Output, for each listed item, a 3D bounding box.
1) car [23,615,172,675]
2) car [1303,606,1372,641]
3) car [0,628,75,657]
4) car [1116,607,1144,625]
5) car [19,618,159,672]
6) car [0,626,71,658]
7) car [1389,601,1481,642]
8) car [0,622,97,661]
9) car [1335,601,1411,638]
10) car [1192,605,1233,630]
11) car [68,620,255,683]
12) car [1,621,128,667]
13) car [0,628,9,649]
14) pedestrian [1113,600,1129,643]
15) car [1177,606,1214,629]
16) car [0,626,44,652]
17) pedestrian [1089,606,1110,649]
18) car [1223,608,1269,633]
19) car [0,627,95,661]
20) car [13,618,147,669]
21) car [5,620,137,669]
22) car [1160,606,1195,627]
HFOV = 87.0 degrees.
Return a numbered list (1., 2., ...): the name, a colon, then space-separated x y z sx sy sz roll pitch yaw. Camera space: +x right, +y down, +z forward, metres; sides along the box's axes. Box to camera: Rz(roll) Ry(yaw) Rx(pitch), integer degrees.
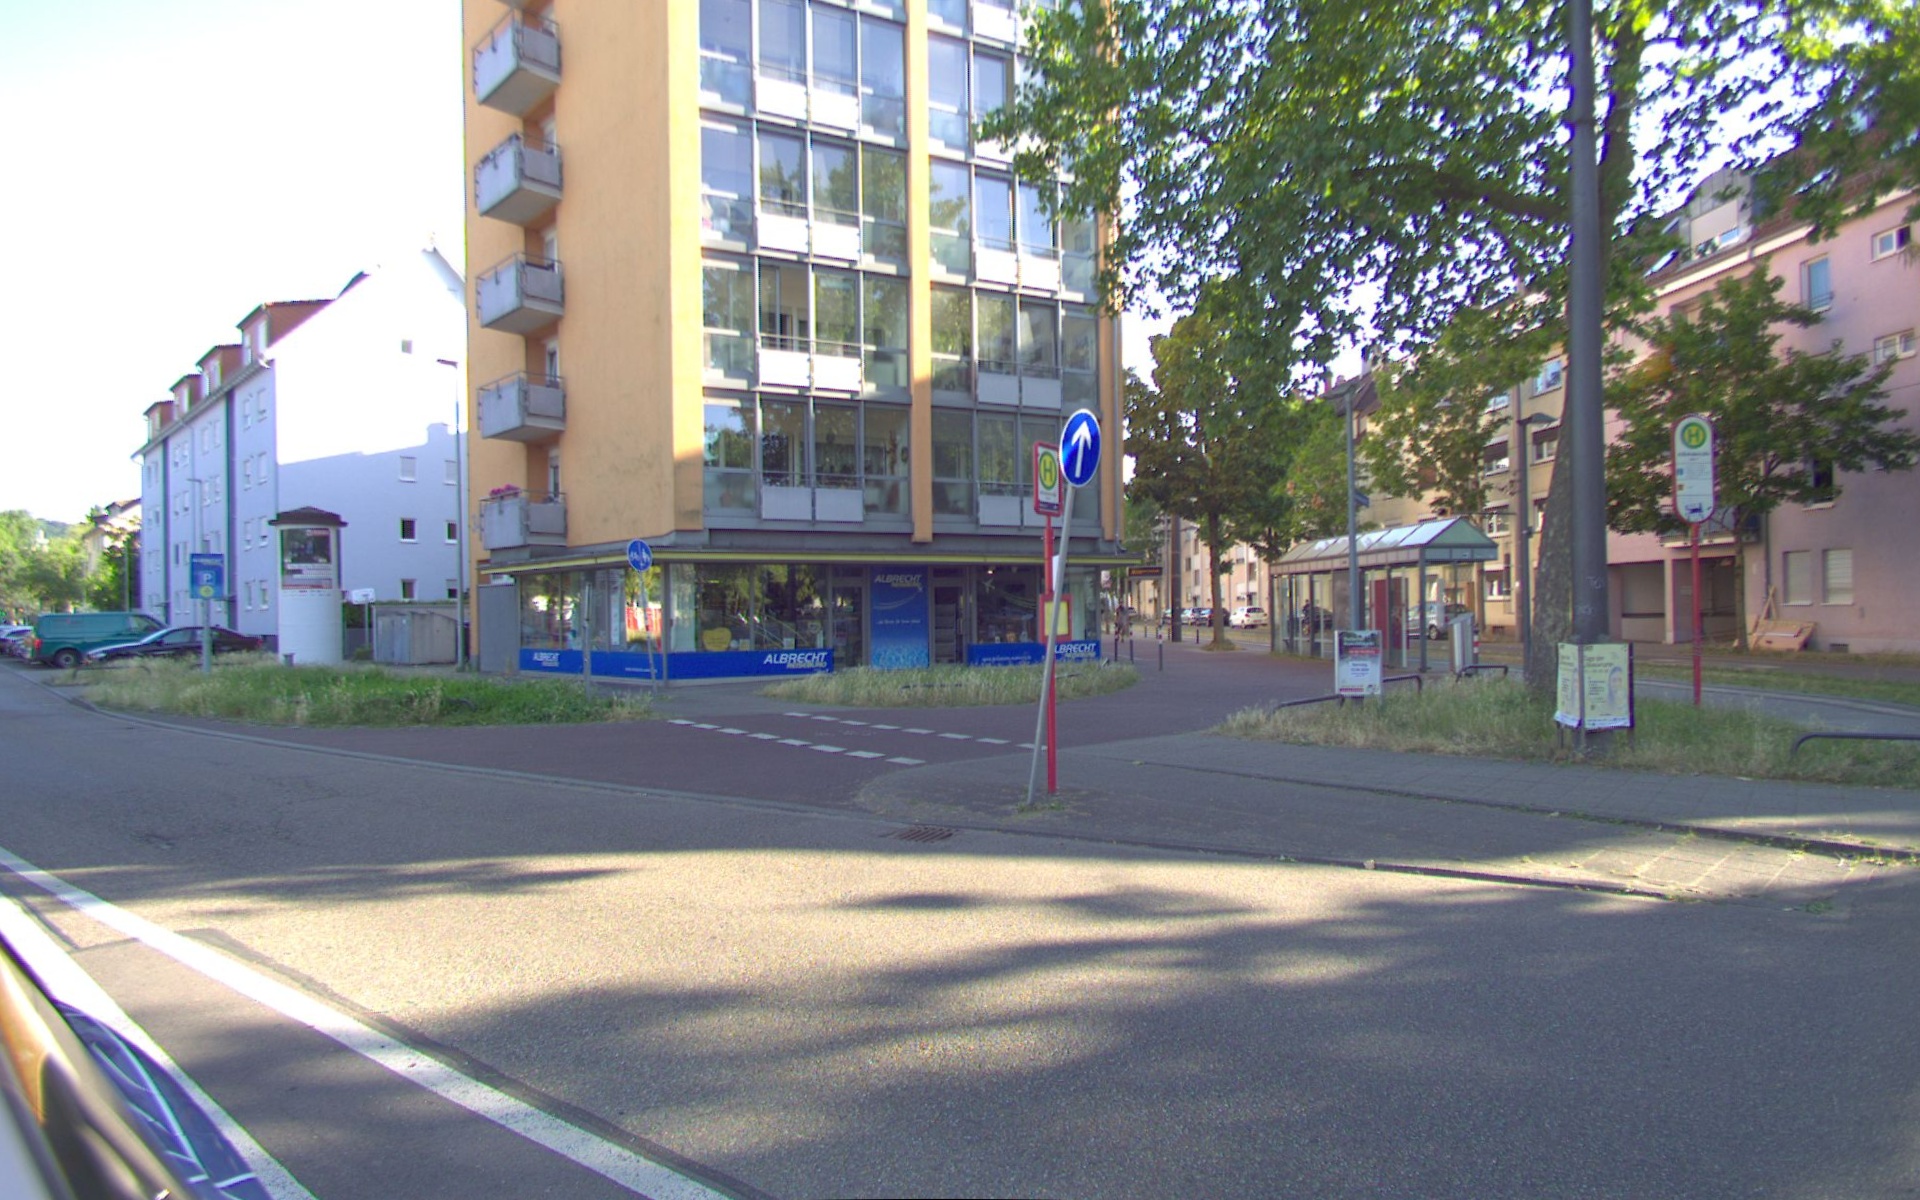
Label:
1. car: -31.216 1.560 36.688 2.001 1.962 3.942 -1 0 44
2. car: 19.915 1.199 53.599 1.911 1.719 4.115 -1 0 -3
3. car: -55.660 2.508 60.382 4.199 1.585 1.867 -1 0 -44
4. car: 17.733 1.633 105.546 1.911 1.719 4.372 -1 0 -3
5. car: -33.122 1.652 38.531 3.941 1.829 2.001 -1 0 -44
6. car: -55.793 2.478 60.435 4.016 1.765 1.900 -1 0 -44
7. car: 20.745 0.905 44.431 1.911 1.719 4.115 -1 0 -3
8. car: -46.118 2.043 50.866 4.061 1.785 1.758 -1 0 -44
9. car: 19.905 0.915 48.986 1.911 1.719 3.827 -1 0 -3
10. car: 18.704 1.263 75.156 1.808 1.719 4.059 -1 0 -3
11. car: -24.273 1.512 30.865 4.361 1.674 2.003 -1 0 -41
12. car: -38.828 1.869 43.930 4.016 1.765 1.900 -1 0 -44
13. car: -74.760 2.995 76.963 3.490 1.585 1.867 -1 0 -44
14. pedestrian: 6.606 0.877 41.540 0.622 1.763 0.689 -1 0 6
15. car: 18.642 1.347 80.346 1.771 1.719 4.170 -1 0 -3
16. car: -63.496 2.610 66.994 4.199 1.585 1.867 -1 0 -44
17. pedestrian: 5.741 1.137 41.708 0.803 1.763 0.538 -1 0 6
18. car: 19.171 1.343 68.051 1.741 1.588 4.049 -1 0 -3
19. car: -48.121 2.280 52.957 4.199 1.585 1.867 -1 0 -44
20. car: -35.121 1.678 40.433 3.941 1.829 2.001 -1 0 -44
21. car: -36.859 1.811 42.012 4.003 1.829 1.938 -1 0 -44
22. car: 18.430 1.389 85.800 1.830 1.719 4.170 -1 0 -3
